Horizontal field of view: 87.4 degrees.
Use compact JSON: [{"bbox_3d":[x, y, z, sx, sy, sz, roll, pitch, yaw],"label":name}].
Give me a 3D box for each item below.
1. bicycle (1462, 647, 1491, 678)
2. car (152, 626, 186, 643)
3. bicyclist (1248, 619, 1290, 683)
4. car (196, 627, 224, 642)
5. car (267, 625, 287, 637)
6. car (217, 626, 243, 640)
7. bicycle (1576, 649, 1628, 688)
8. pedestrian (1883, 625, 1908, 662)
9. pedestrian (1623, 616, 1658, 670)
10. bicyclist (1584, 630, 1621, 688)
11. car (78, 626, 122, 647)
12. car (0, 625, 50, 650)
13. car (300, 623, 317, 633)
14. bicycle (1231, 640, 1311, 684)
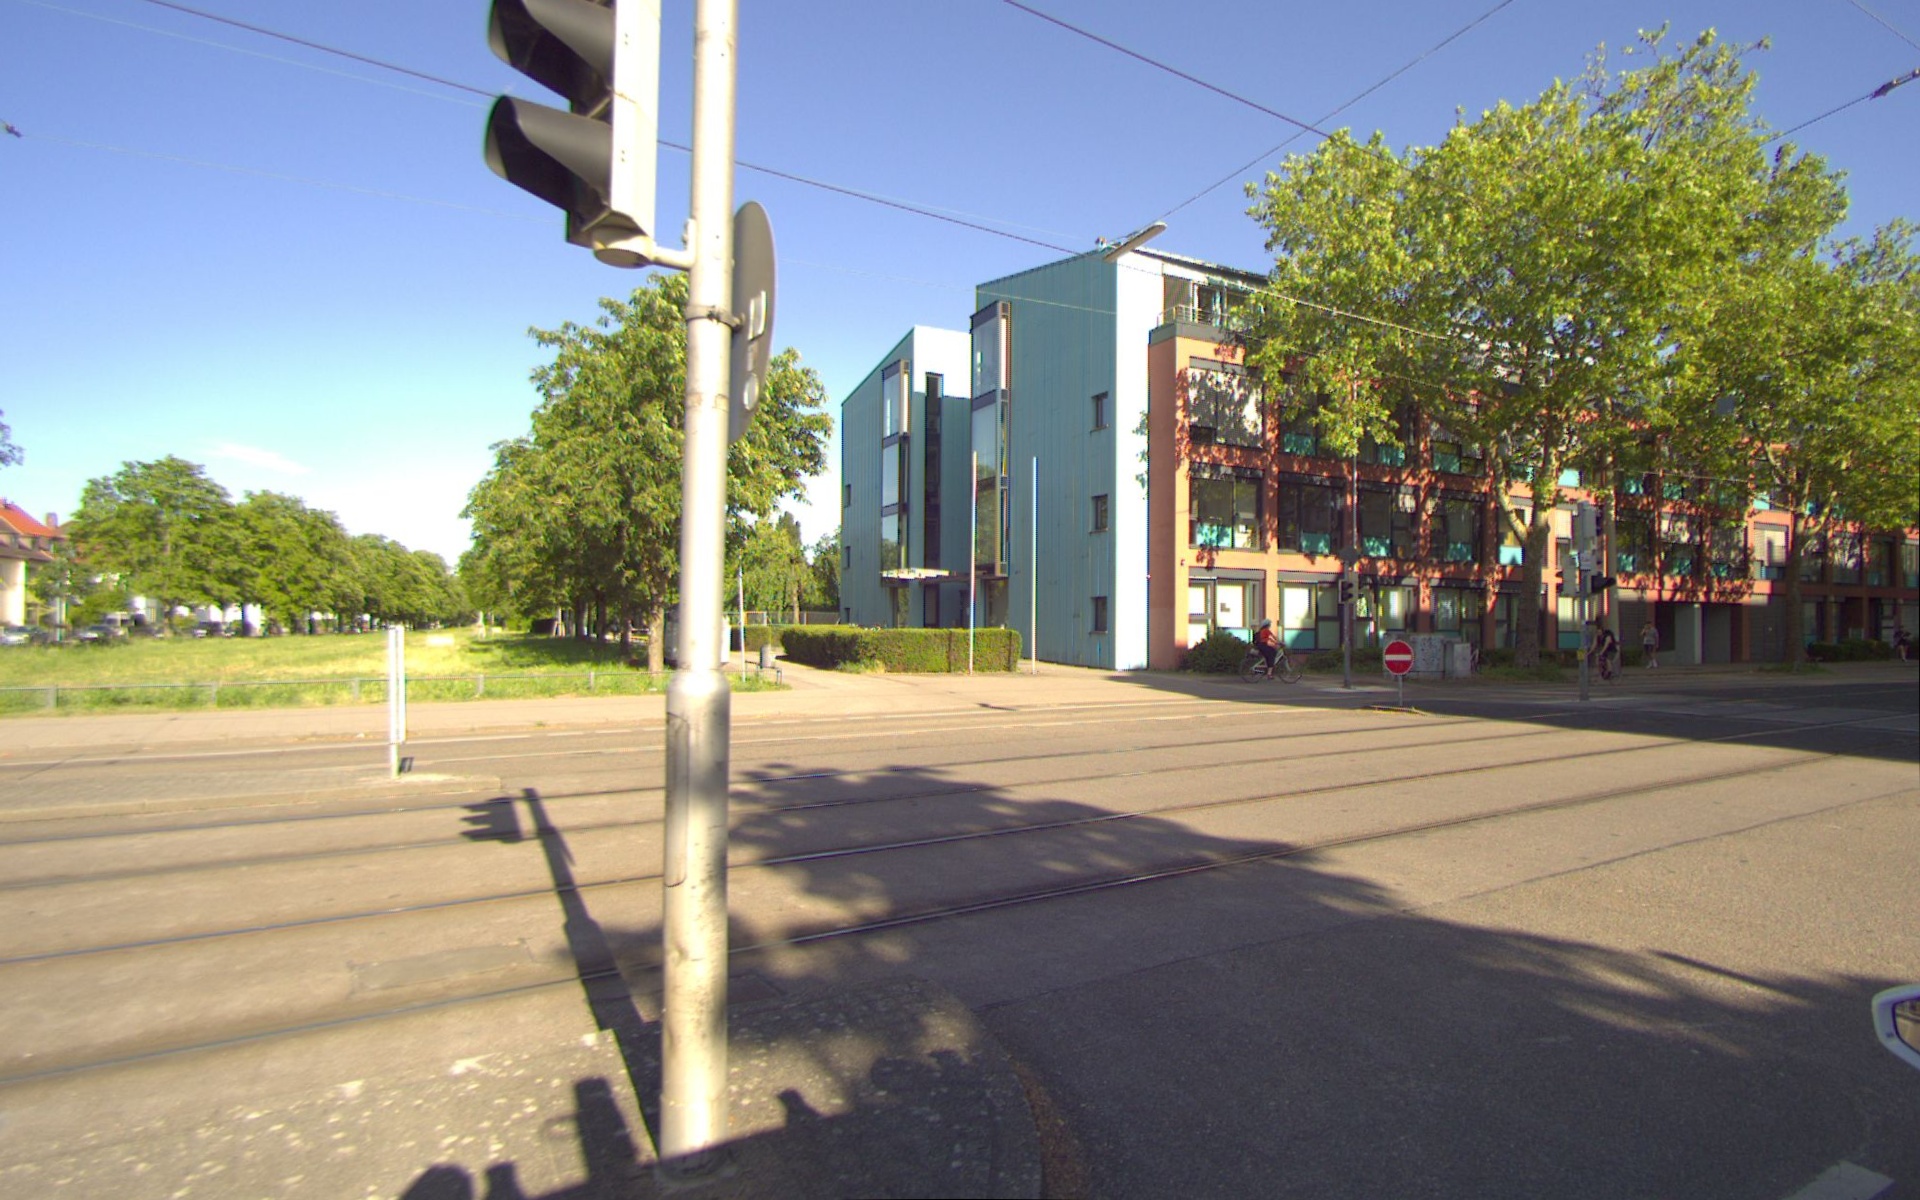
[{"bbox_3d":[16.053,1.926,31.205,0.514,0.918,1.537,-1,-2,39],"label":"bicycle"},{"bbox_3d":[-81.016,3.528,102.890,1.791,1.766,3.864,1,-1,-24],"label":"car"},{"bbox_3d":[8.506,1.404,27.665,0.914,1.715,0.606,1,1,-2],"label":"bicyclist"},{"bbox_3d":[-87.164,3.987,116.756,1.791,1.766,3.864,1,-1,-24],"label":"car"},{"bbox_3d":[-100.204,4.556,147.354,1.791,1.766,3.864,1,-1,-24],"label":"car"},{"bbox_3d":[-92.162,4.189,126.845,1.791,1.766,3.864,1,-1,-24],"label":"car"},{"bbox_3d":[18.954,2.008,29.647,1.906,1.056,0.640,0,1,-36],"label":"bicycle"},{"bbox_3d":[45.185,2.098,48.505,0.889,1.741,0.623,0,1,-28],"label":"pedestrian"},{"bbox_3d":[26.441,1.653,39.032,0.773,2.041,0.904,0,1,-35],"label":"pedestrian"},{"bbox_3d":[18.969,1.727,29.652,0.773,1.633,0.640,0,1,-36],"label":"bicyclist"},{"bbox_3d":[-73.867,3.086,86.321,1.791,1.766,3.864,1,-1,-24],"label":"car"},{"bbox_3d":[-68.591,2.722,73.484,1.791,1.766,3.864,1,-1,-24],"label":"car"},{"bbox_3d":[-111.498,4.814,171.973,1.791,1.766,3.864,1,-1,-24],"label":"car"},{"bbox_3d":[8.543,1.693,27.669,1.996,1.144,0.633,1,1,-2],"label":"bicycle"}]
